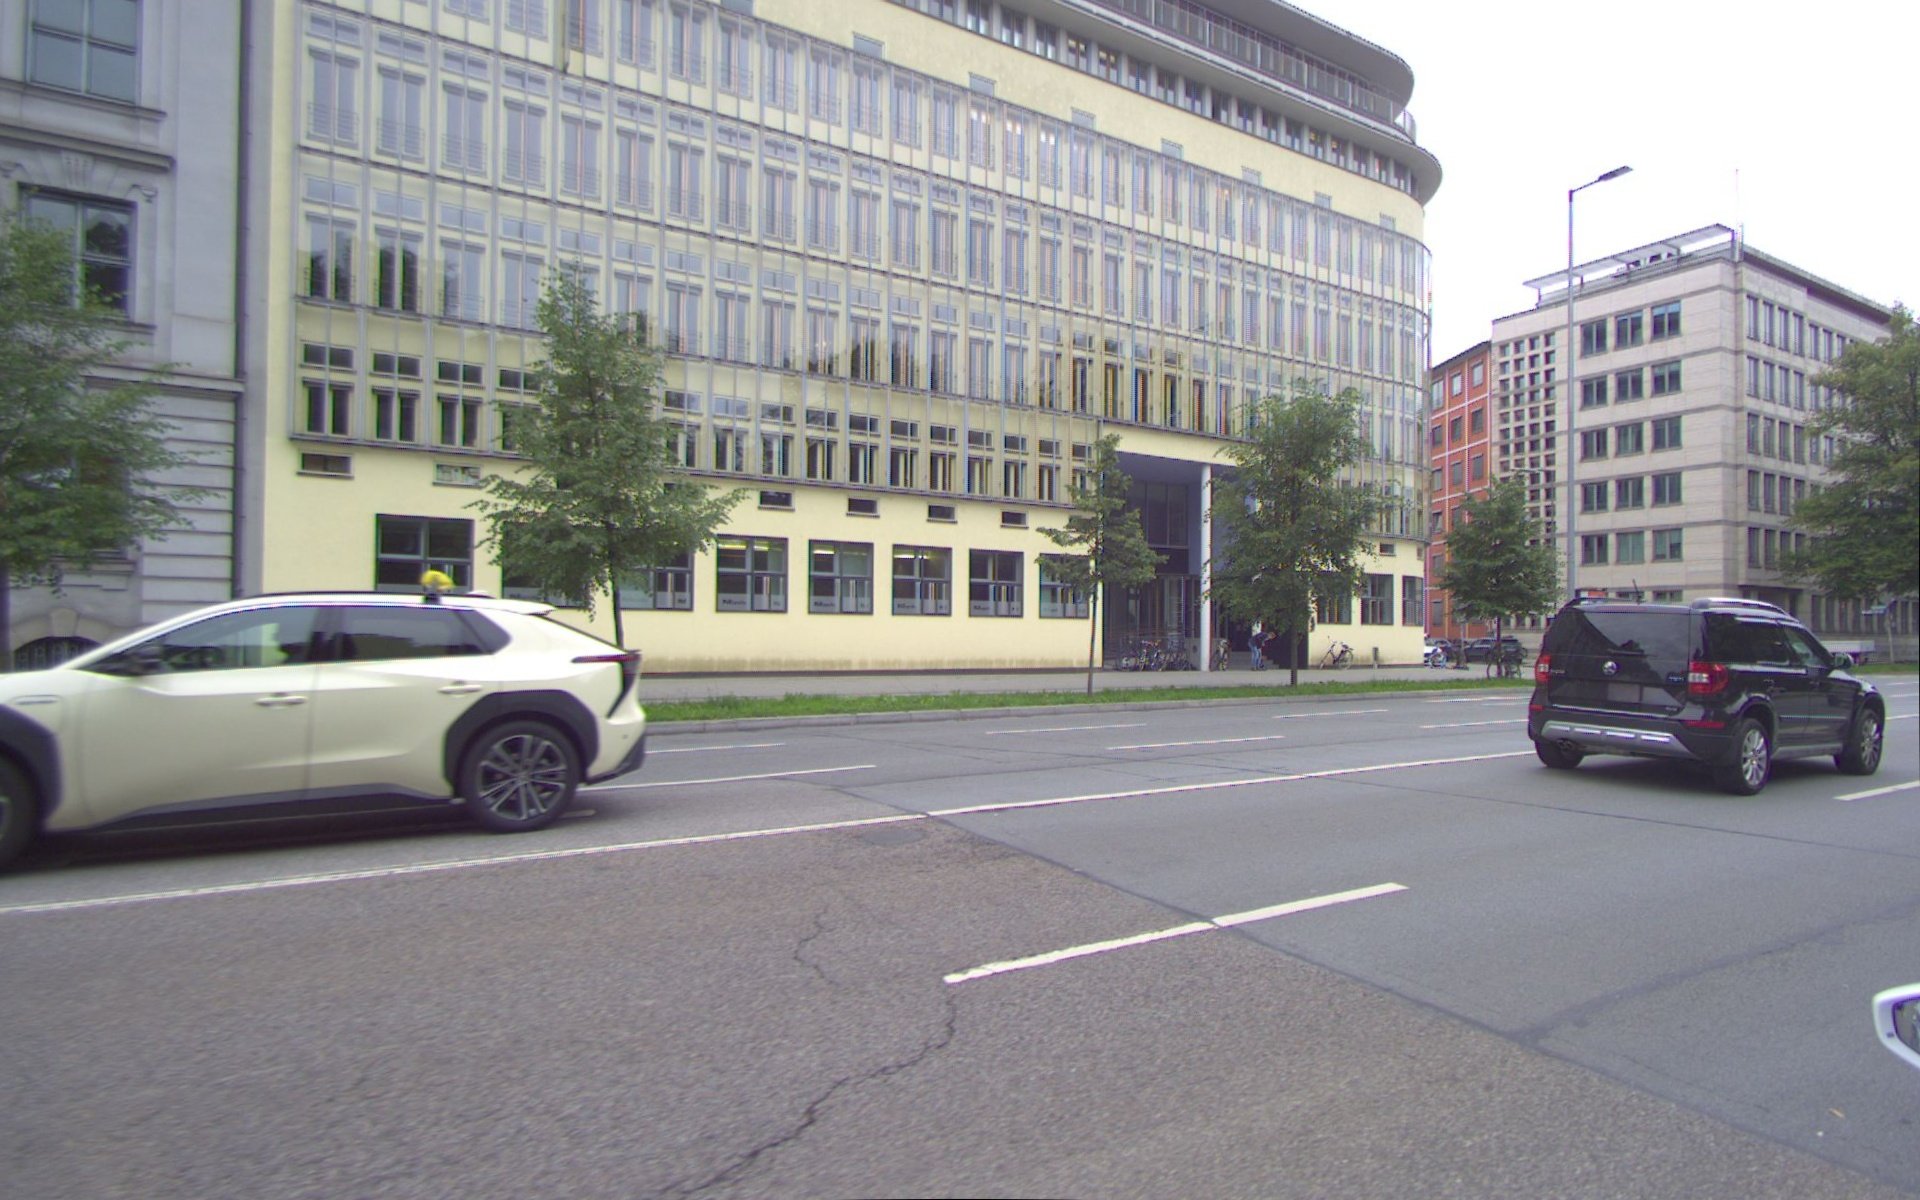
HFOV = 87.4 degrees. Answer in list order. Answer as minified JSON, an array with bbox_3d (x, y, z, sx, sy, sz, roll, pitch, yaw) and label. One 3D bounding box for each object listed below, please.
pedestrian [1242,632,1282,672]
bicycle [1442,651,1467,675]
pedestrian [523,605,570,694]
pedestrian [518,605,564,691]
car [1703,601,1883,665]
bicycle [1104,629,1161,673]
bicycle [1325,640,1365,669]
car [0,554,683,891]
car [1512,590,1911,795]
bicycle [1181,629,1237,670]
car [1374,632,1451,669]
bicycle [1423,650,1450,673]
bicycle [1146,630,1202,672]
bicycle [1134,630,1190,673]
[{"bbox_3d":[10.515,1.802,34.991,1.073,1.382,0.833,0,-2,-30],"label":"pedestrian"},{"bbox_3d":[22.370,2.852,45.444,0.574,1.034,1.847,-1,-2,12],"label":"bicycle"},{"bbox_3d":[-8.561,1.011,20.793,0.826,1.800,0.612,1,0,-30],"label":"pedestrian"},{"bbox_3d":[-8.964,1.012,21.466,0.826,1.800,0.612,1,0,-30],"label":"pedestrian"},{"bbox_3d":[36.015,1.432,43.643,2.134,2.570,5.647,1,-2,-33],"label":"car"},{"bbox_3d":[5.605,1.650,32.764,0.632,1.336,1.995,1,0,-35],"label":"bicycle"},{"bbox_3d":[14.032,1.970,36.611,1.577,1.026,0.569,1,0,-34],"label":"bicycle"},{"bbox_3d":[-4.386,0.701,6.749,4.574,1.771,1.849,1,-3,-30],"label":"car"},{"bbox_3d":[7.493,0.810,9.929,4.156,1.658,1.714,1,-2,-31],"label":"car"},{"bbox_3d":[8.640,1.717,34.924,0.569,1.336,1.995,1,0,-35],"label":"bicycle"},{"bbox_3d":[22.608,2.479,50.400,1.833,1.773,4.329,0,-2,-1],"label":"car"},{"bbox_3d":[19.594,2.503,41.333,0.574,0.889,1.738,-1,-2,12],"label":"bicycle"},{"bbox_3d":[7.225,1.713,34.018,0.569,1.336,1.995,1,0,-35],"label":"bicycle"},{"bbox_3d":[6.753,1.705,33.646,0.569,1.336,1.995,1,0,-35],"label":"bicycle"}]
